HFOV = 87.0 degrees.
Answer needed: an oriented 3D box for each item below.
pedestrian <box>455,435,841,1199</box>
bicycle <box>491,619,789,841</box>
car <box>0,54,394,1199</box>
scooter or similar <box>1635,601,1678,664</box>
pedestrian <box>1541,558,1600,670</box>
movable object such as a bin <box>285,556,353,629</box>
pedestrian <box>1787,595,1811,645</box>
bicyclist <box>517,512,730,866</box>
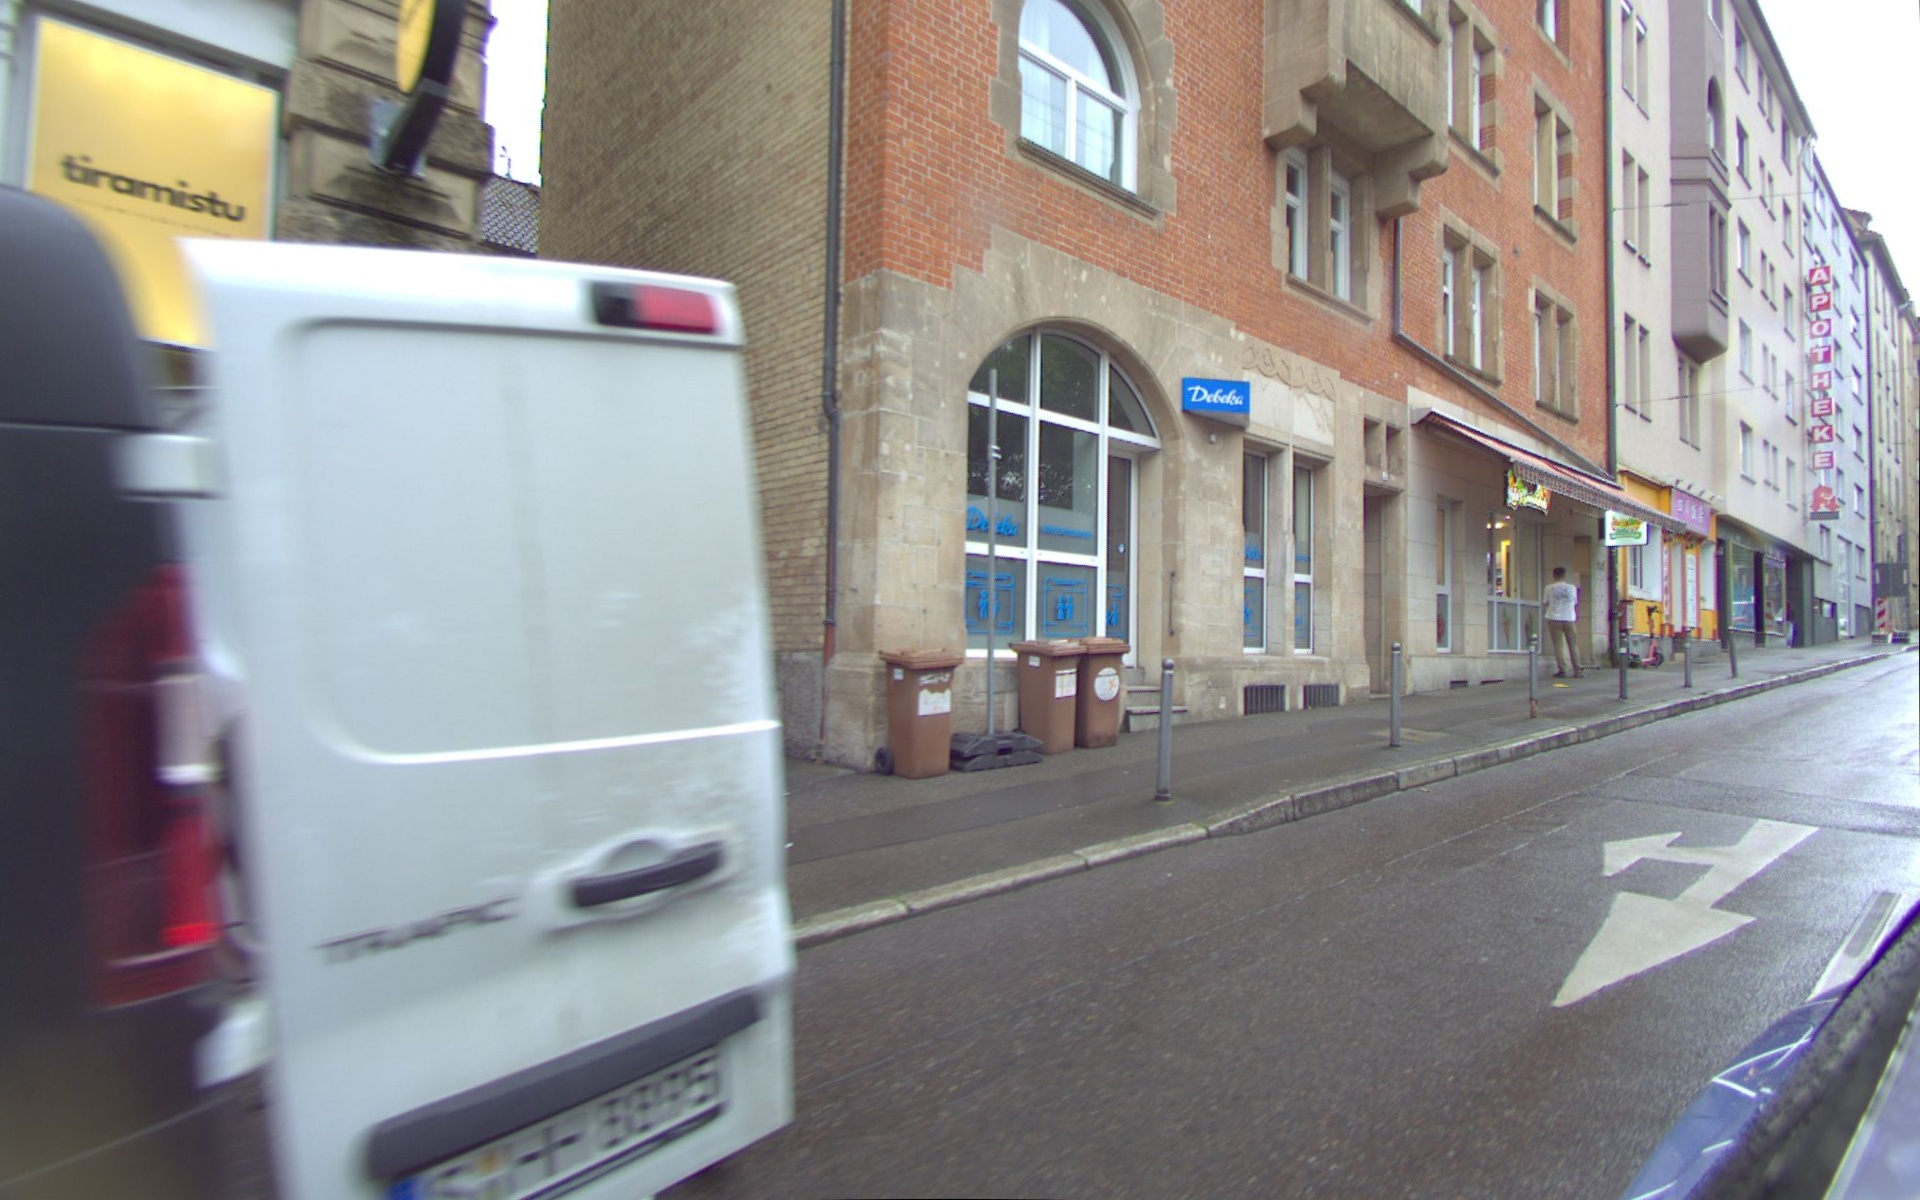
[{"bbox_3d":[-0.846,0.529,2.708,0.676,1.776,0.834,0,0,-45],"label":"pedestrian"},{"bbox_3d":[-1.835,0.692,5.793,1.666,1.129,0.462,1,0,17],"label":"bicycle"},{"bbox_3d":[-3.053,0.436,0.466,4.603,1.960,1.924,0,-1,-41],"label":"car"},{"bbox_3d":[14.003,0.655,20.329,1.171,1.238,0.258,2,-2,-32],"label":"scooter or similar"},{"bbox_3d":[10.366,0.217,17.199,0.568,1.852,0.564,2,2,2],"label":"pedestrian"},{"bbox_3d":[-12.888,-0.135,20.324,1.089,1.388,1.492,0,-1,-35],"label":"movable object such as a bin"},{"bbox_3d":[27.803,0.658,33.535,0.476,1.666,0.329,-1,-2,22],"label":"pedestrian"},{"bbox_3d":[-1.729,0.416,5.242,0.840,1.678,0.627,0,0,21],"label":"bicyclist"}]
